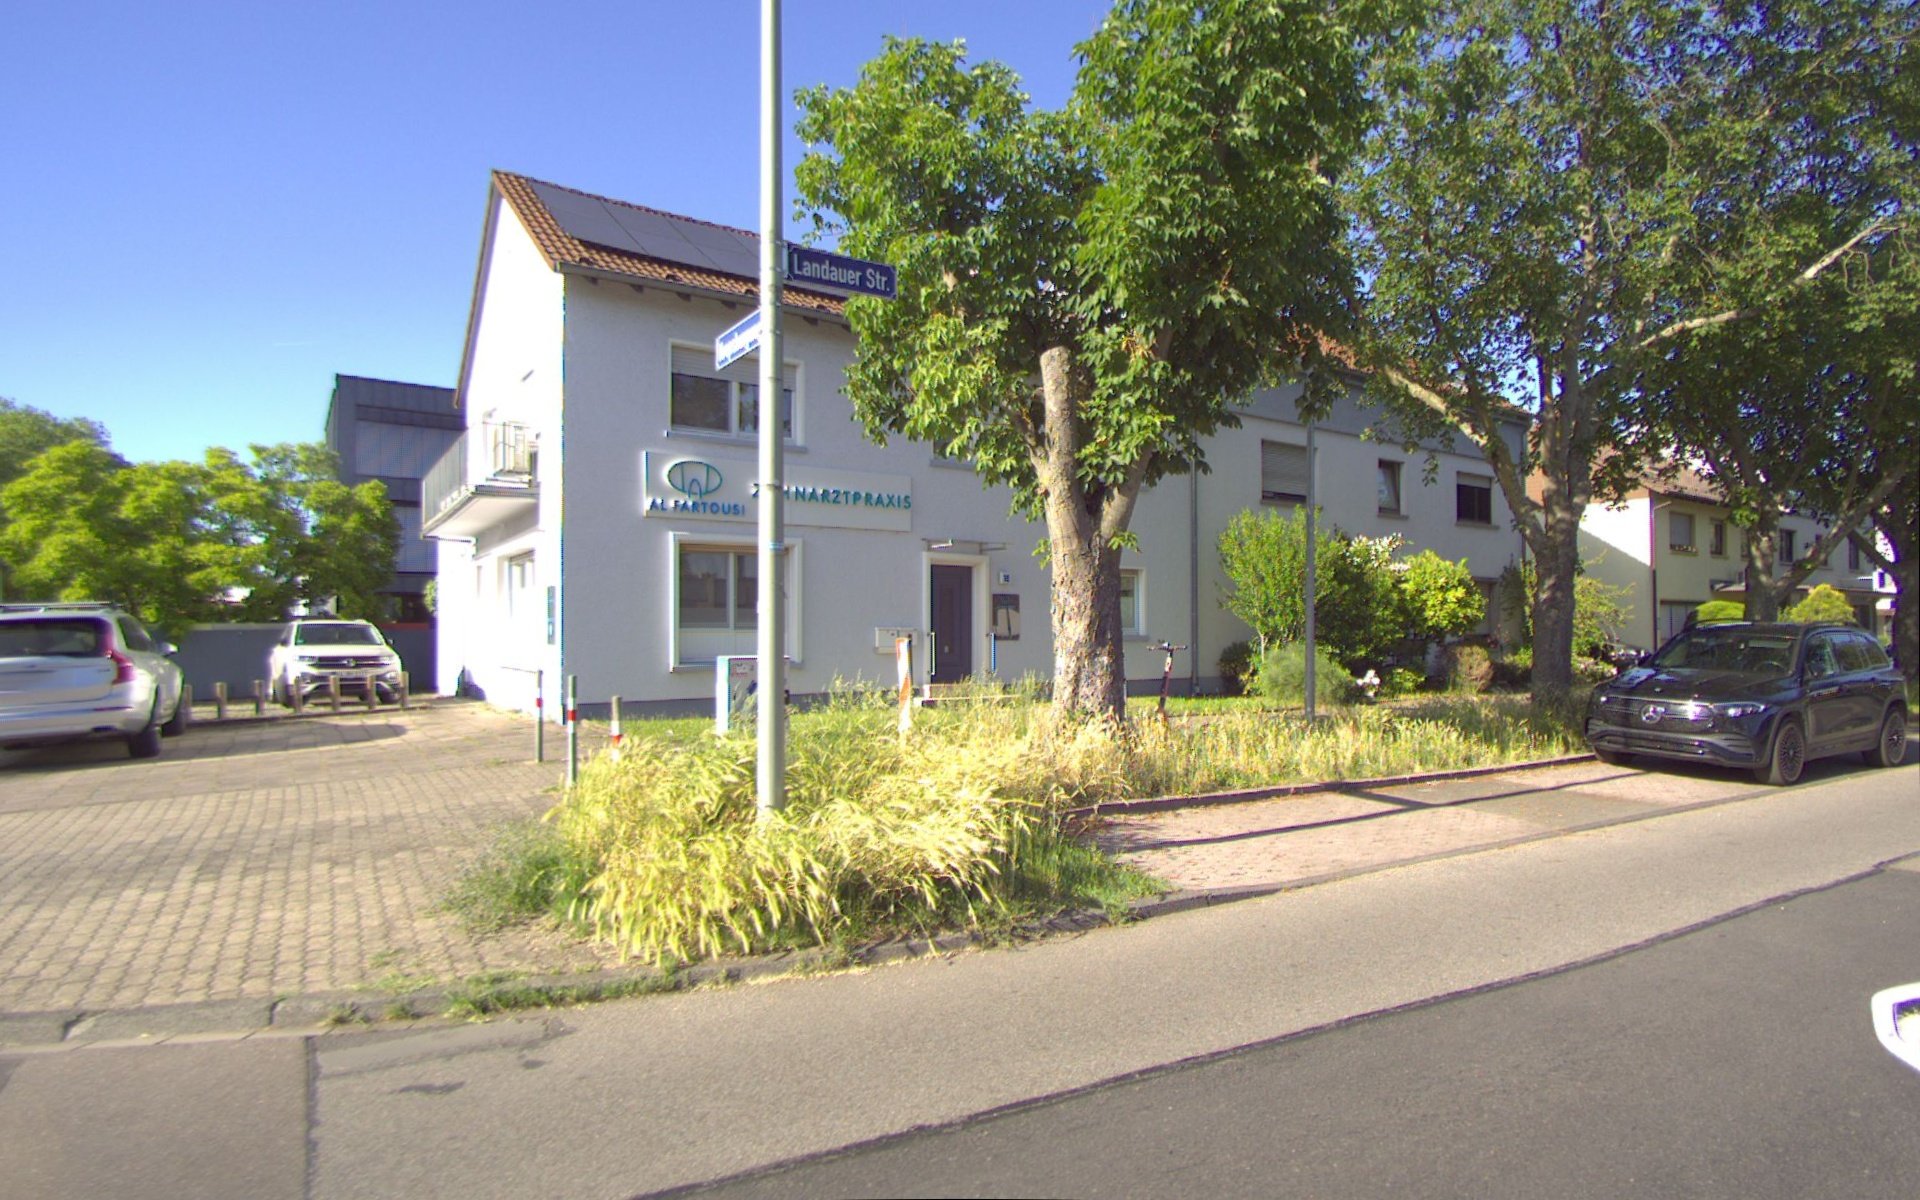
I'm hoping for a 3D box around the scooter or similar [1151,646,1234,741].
[{"bbox_3d":[2.632,1.032,11.335,0.988,1.014,0.333,1,-2,-35],"label":"scooter or similar"}]

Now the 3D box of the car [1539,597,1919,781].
[{"bbox_3d":[9.046,0.916,11.645,4.819,1.749,1.944,2,-1,-31],"label":"car"}]

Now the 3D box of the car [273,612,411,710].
[{"bbox_3d":[-11.729,1.155,19.000,1.979,1.575,4.475,-1,-3,-33],"label":"car"}]

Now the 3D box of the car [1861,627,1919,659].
[{"bbox_3d":[53.079,2.377,55.540,1.980,1.639,4.525,-1,1,-35],"label":"car"}]

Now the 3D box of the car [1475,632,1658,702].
[{"bbox_3d":[17.728,1.887,29.521,1.981,1.737,4.204,-1,1,-36],"label":"car"}]

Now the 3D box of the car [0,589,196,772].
[{"bbox_3d":[-10.989,0.915,12.518,1.979,1.862,4.462,-3,0,-34],"label":"car"}]

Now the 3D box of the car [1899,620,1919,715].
[{"bbox_3d":[18.688,1.231,17.749,4.333,1.630,1.929,2,-1,-31],"label":"car"}]
